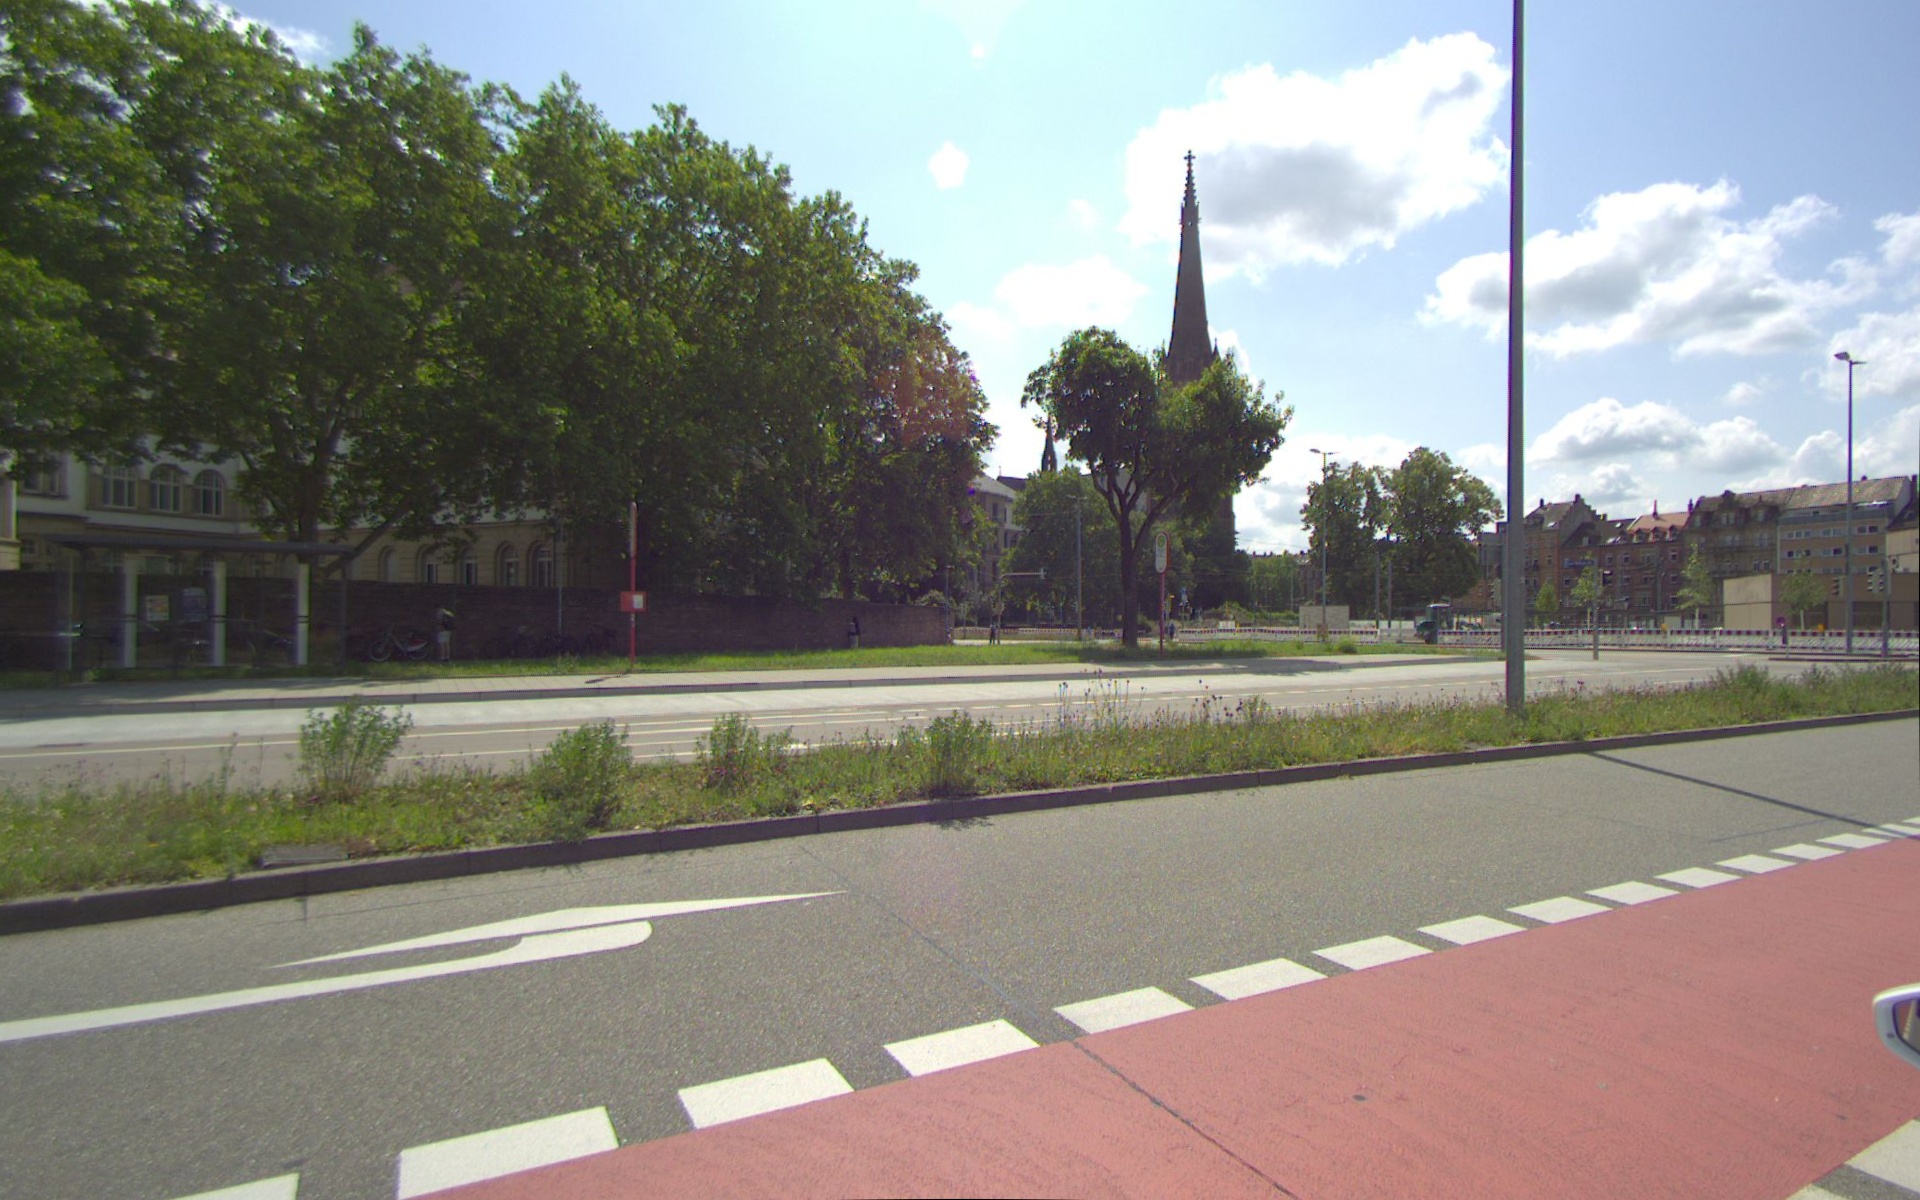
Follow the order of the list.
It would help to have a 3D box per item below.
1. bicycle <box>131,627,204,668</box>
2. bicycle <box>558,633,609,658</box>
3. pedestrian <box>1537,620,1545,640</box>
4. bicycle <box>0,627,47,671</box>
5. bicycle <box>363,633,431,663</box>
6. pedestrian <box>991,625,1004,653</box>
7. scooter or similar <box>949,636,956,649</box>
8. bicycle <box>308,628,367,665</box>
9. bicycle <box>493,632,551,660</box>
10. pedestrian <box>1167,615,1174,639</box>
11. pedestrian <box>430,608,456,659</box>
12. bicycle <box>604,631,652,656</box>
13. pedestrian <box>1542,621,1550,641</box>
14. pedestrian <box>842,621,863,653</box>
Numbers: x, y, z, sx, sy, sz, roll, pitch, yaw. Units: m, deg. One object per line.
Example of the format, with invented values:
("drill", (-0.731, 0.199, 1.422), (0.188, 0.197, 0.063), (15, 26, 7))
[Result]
("bicycle", (-19.419, 1.159, 24.640), (0.260, 0.977, 1.391), (0, -1, 36))
("bicycle", (-12.780, 1.539, 34.149), (0.324, 0.828, 1.743), (0, -1, 36))
("pedestrian", (49.658, 2.592, 85.907), (0.409, 1.674, 0.425), (2, 0, 4))
("bicycle", (-21.258, 1.092, 22.320), (0.260, 0.977, 1.391), (0, -1, 36))
("bicycle", (-16.240, 1.381, 29.007), (0.324, 0.828, 1.743), (0, -1, 36))
("pedestrian", (2.803, 2.875, 74.713), (0.713, 2.040, 0.721), (1, -1, -32))
("scooter or similar", (-0.435, 2.478, 58.975), (0.117, 0.721, 1.005), (0, -1, 17))
("bicycle", (-17.160, 1.267, 27.710), (0.260, 0.977, 1.391), (0, -1, 36))
("bicycle", (-14.020, 1.464, 32.193), (0.378, 0.828, 1.743), (0, -1, 36))
("pedestrian", (17.860, 2.282, 85.241), (0.619, 2.040, 0.649), (0, 0, 14))
("pedestrian", (-15.122, 0.971, 29.399), (0.627, 1.492, 0.506), (1, -1, -32))
("bicycle", (-11.775, 1.532, 35.675), (0.324, 0.828, 1.743), (0, -1, 36))
("pedestrian", (49.580, 2.585, 85.032), (0.409, 1.674, 0.425), (2, 0, 4))
("pedestrian", (-4.848, 1.673, 45.213), (0.720, 1.413, 0.714), (1, -1, -35))
